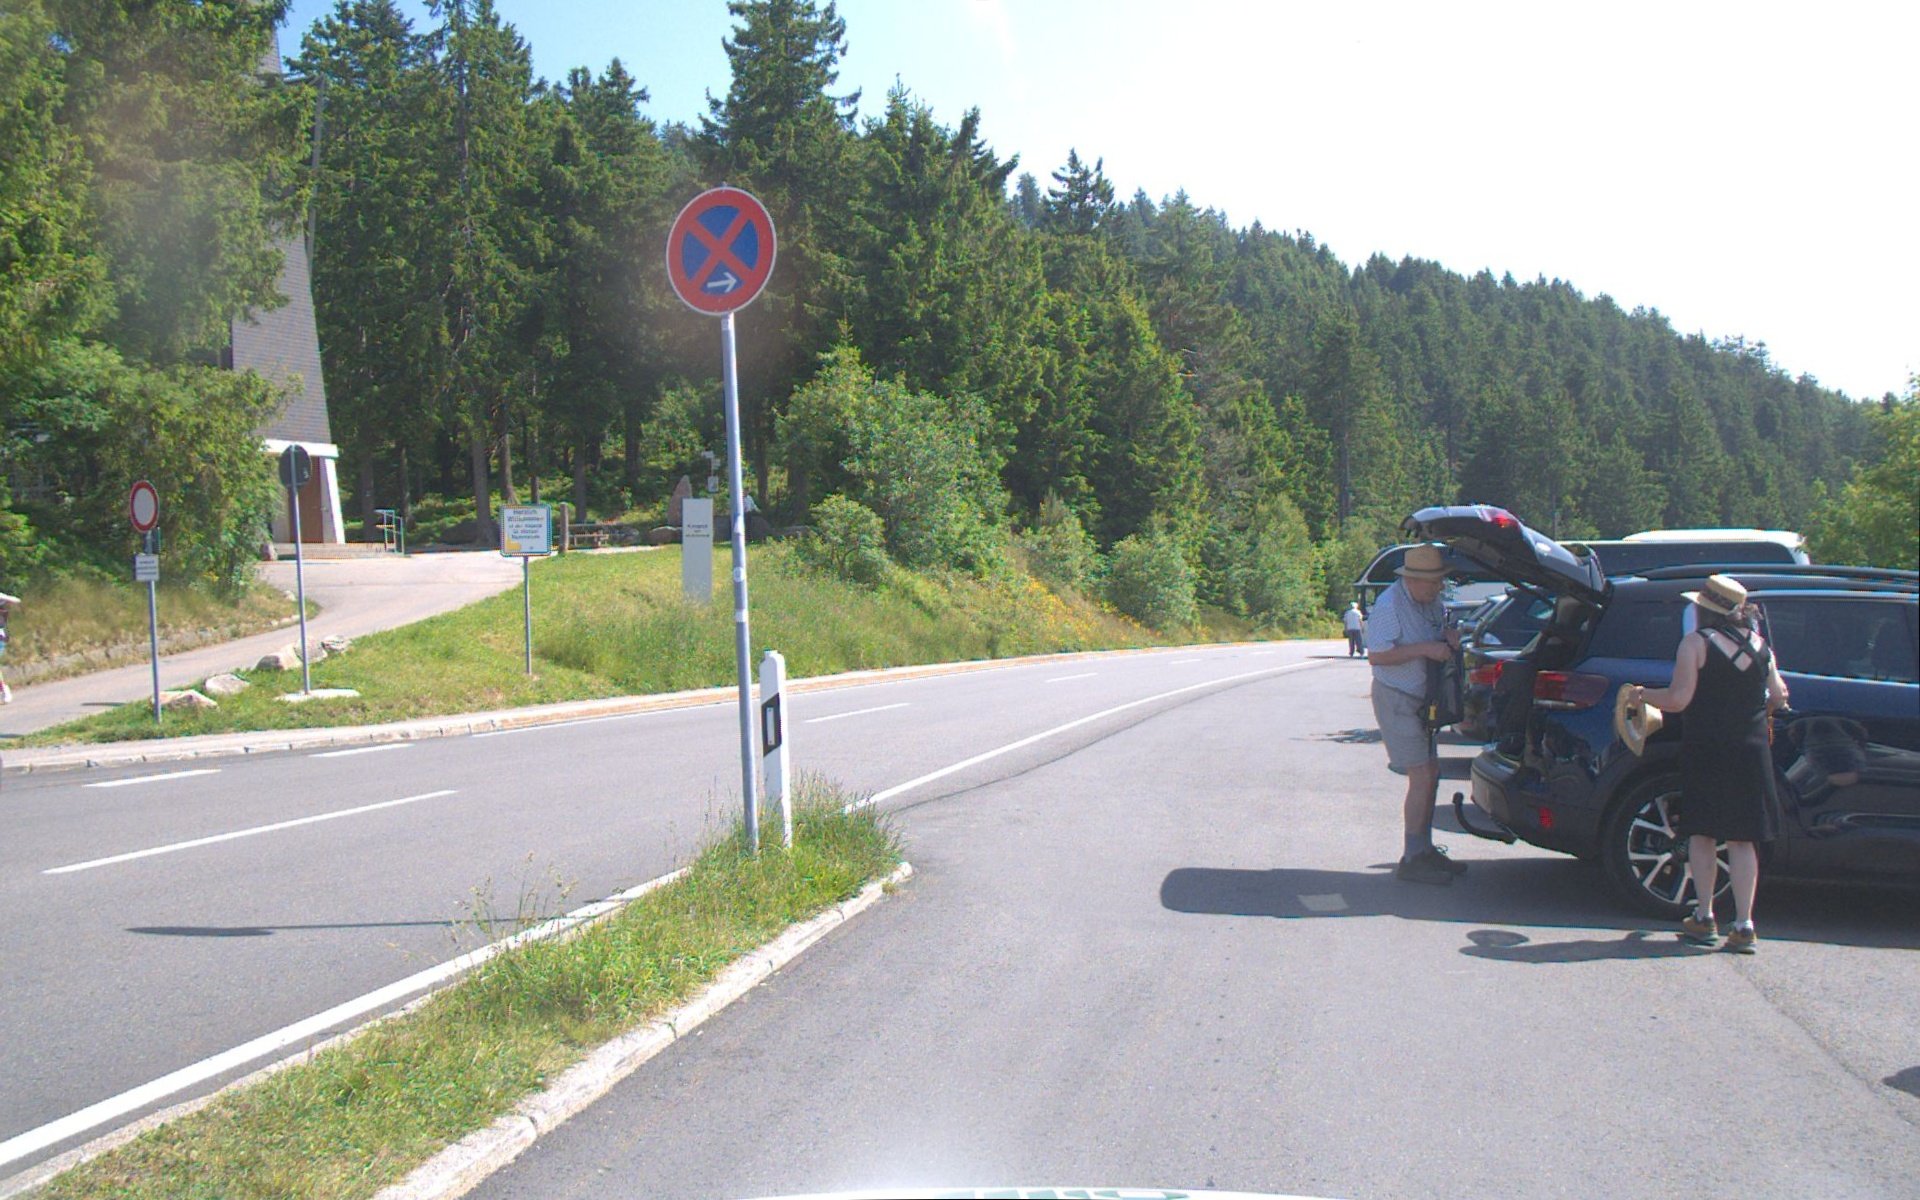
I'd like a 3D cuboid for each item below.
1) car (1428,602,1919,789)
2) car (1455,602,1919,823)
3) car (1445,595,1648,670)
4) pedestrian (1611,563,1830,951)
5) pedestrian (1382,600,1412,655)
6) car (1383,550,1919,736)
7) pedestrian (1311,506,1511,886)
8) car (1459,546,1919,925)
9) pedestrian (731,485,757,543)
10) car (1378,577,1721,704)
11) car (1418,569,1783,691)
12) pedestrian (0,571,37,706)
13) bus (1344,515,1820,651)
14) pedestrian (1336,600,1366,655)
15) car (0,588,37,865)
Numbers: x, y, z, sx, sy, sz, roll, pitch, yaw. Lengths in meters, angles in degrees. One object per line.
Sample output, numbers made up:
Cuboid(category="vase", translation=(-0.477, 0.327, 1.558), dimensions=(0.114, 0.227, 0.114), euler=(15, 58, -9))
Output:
Cuboid(category="car", translation=(6.217, 0.765, 14.301), dimensions=(3.994, 1.400, 1.704), euler=(1, 0, 10))
Cuboid(category="car", translation=(5.793, 0.768, 11.934), dimensions=(3.995, 1.400, 1.703), euler=(1, 0, 7))
Cuboid(category="car", translation=(12.349, 0.683, 35.057), dimensions=(3.902, 1.474, 1.862), euler=(-1, 0, 16))
Cuboid(category="pedestrian", translation=(3.349, 0.673, 7.316), dimensions=(0.700, 1.641, 0.536), euler=(1, -1, -5))
Cuboid(category="pedestrian", translation=(12.992, 0.819, 49.171), dimensions=(0.754, 1.613, 0.772), euler=(-1, -1, 23))
Cuboid(category="car", translation=(6.917, 0.428, 16.993), dimensions=(4.845, 1.725, 1.946), euler=(-1, 0, 18))
Cuboid(category="pedestrian", translation=(2.396, 0.461, 8.798), dimensions=(0.752, 1.903, 0.725), euler=(-2, 3, -44))
Cuboid(category="car", translation=(4.882, 0.678, 8.403), dimensions=(4.251, 1.654, 1.871), euler=(3, 0, 11))
Cuboid(category="pedestrian", translation=(-7.316, -2.896, 56.044), dimensions=(0.537, 1.911, 0.672), euler=(-1, -1, -42))
Cuboid(category="car", translation=(7.824, 0.549, 22.306), dimensions=(4.154, 1.581, 1.839), euler=(-1, 0, 16))
Cuboid(category="car", translation=(9.515, 0.458, 25.039), dimensions=(4.927, 1.680, 2.049), euler=(-1, 0, 16))
Cuboid(category="pedestrian", translation=(-12.508, 0.500, 21.384), dimensions=(0.704, 1.710, 0.683), euler=(-2, -1, 12))
Cuboid(category="bus", translation=(18.193, -0.381, 49.111), dimensions=(12.836, 3.594, 3.041), euler=(-1, -1, 26))
Cuboid(category="pedestrian", translation=(11.765, 0.821, 49.768), dimensions=(0.754, 1.613, 0.772), euler=(-1, -1, 23))
Cuboid(category="car", translation=(-6.579, 0.686, 7.127), dimensions=(1.839, 1.500, 4.718), euler=(0, 0, 13))
